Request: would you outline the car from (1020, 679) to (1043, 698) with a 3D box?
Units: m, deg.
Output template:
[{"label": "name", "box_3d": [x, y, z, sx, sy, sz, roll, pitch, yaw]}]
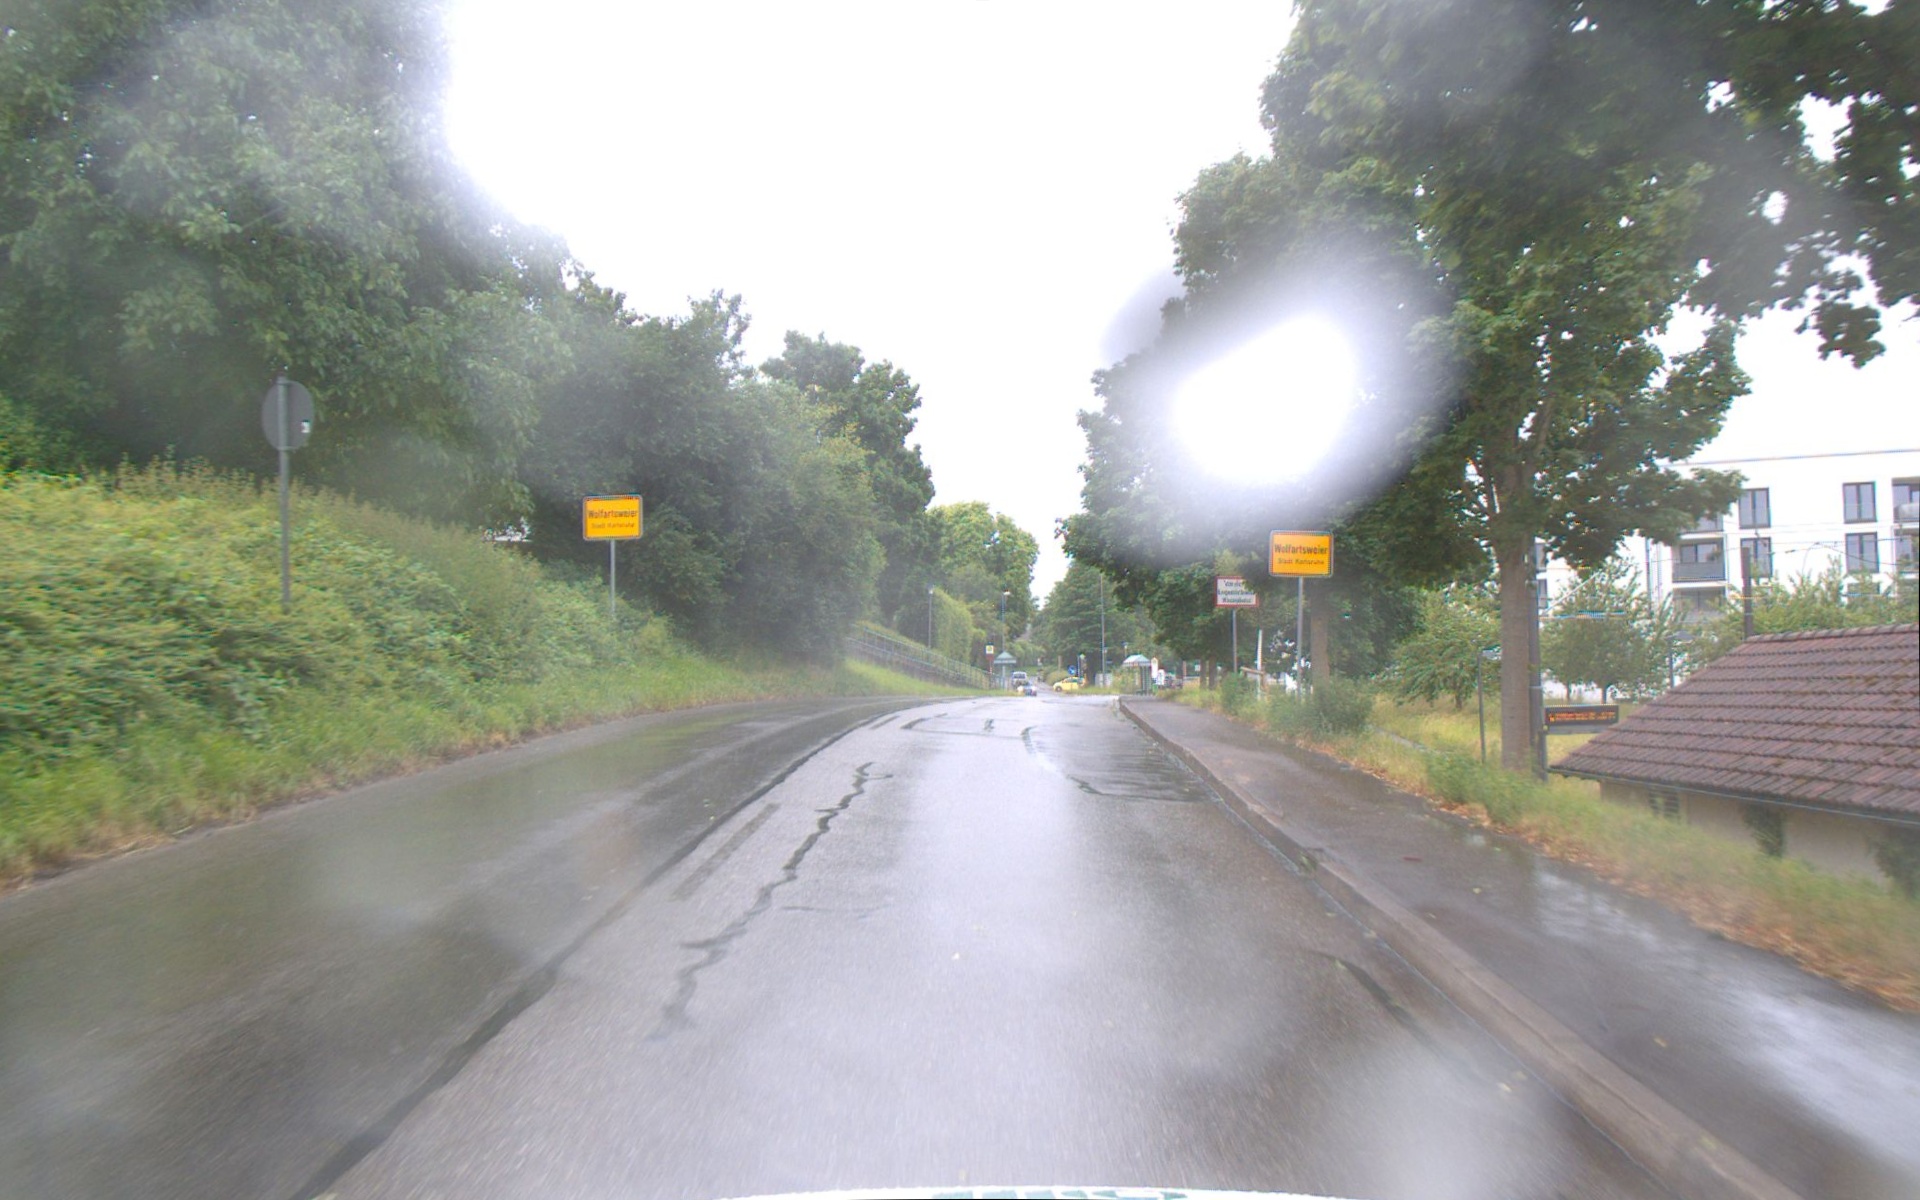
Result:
[{"label": "car", "box_3d": [6.207, 7.740, 144.065, 1.725, 1.529, 4.139, -2, -4, -1]}]

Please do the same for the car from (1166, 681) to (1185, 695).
[{"label": "car", "box_3d": [25.034, 10.216, 192.387, 1.654, 1.463, 3.610, 0, -2, -1]}]
